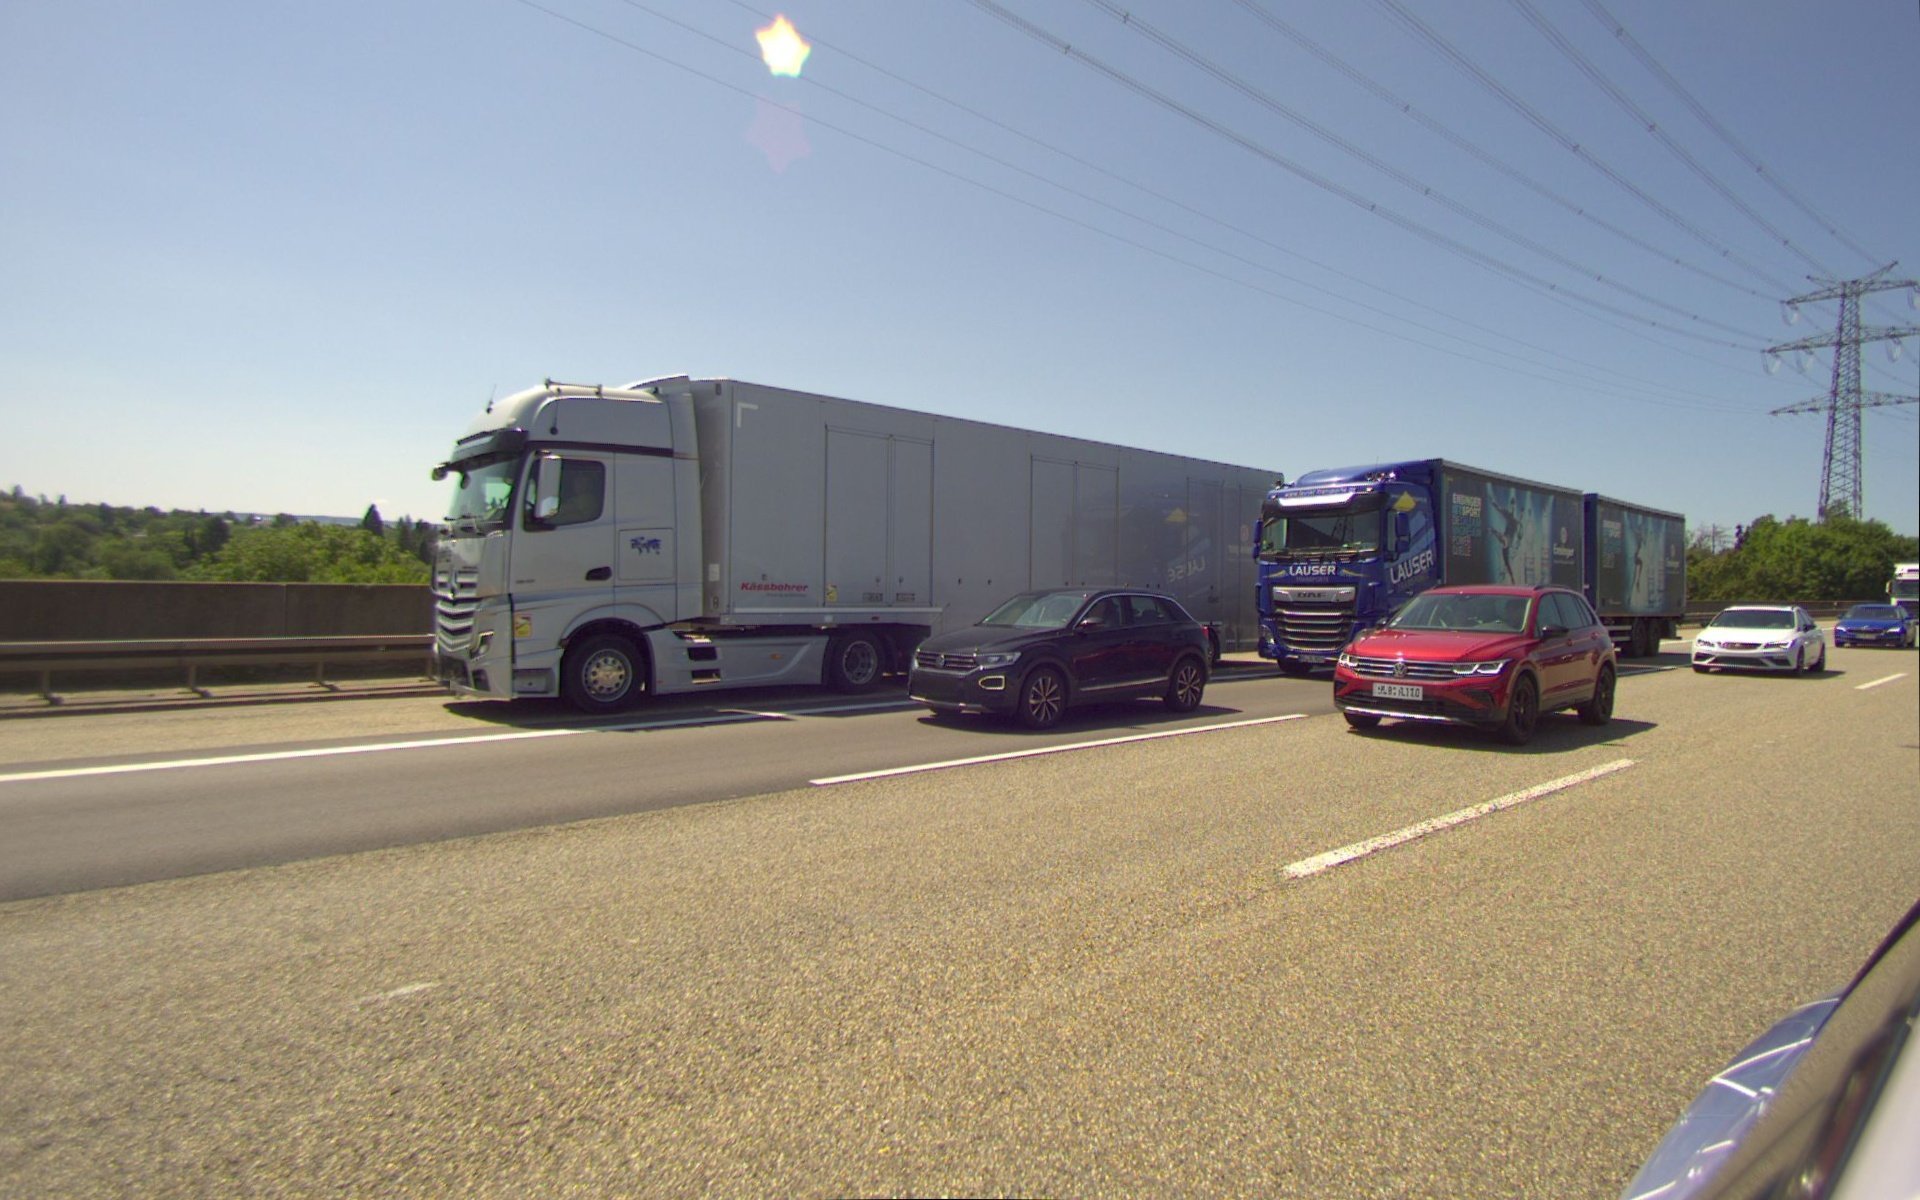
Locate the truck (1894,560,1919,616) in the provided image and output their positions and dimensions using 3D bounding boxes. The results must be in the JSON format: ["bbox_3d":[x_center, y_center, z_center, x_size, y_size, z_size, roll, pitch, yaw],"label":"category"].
[{"bbox_3d":[66.203,-0.788,68.693,10.777,3.604,2.982,0,0,-41],"label":"truck"}]

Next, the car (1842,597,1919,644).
[{"bbox_3d":[31.427,0.666,34.244,4.135,1.463,1.739,0,1,-40],"label":"car"}]

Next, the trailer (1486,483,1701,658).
[{"bbox_3d":[17.061,-0.677,26.945,8.331,3.995,2.570,0,0,-41],"label":"trailer"}]

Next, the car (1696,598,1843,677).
[{"bbox_3d":[17.118,0.713,21.341,4.003,1.508,1.841,0,0,-42],"label":"car"}]

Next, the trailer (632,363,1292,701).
[{"bbox_3d":[1.208,-0.846,17.966,13.535,4.172,2.539,0,0,-42],"label":"trailer"}]

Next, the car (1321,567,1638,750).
[{"bbox_3d":[5.945,0.525,11.369,4.151,1.683,1.778,0,1,-42],"label":"car"}]

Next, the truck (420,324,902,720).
[{"bbox_3d":[-3.763,-0.845,13.487,5.617,4.171,2.520,0,0,-42],"label":"truck"}]

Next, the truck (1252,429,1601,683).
[{"bbox_3d":[10.001,-0.740,20.781,10.265,4.117,2.527,0,1,-41],"label":"truck"}]

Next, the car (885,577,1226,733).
[{"bbox_3d":[1.245,0.532,12.018,4.034,1.546,1.739,0,0,-41],"label":"car"}]
